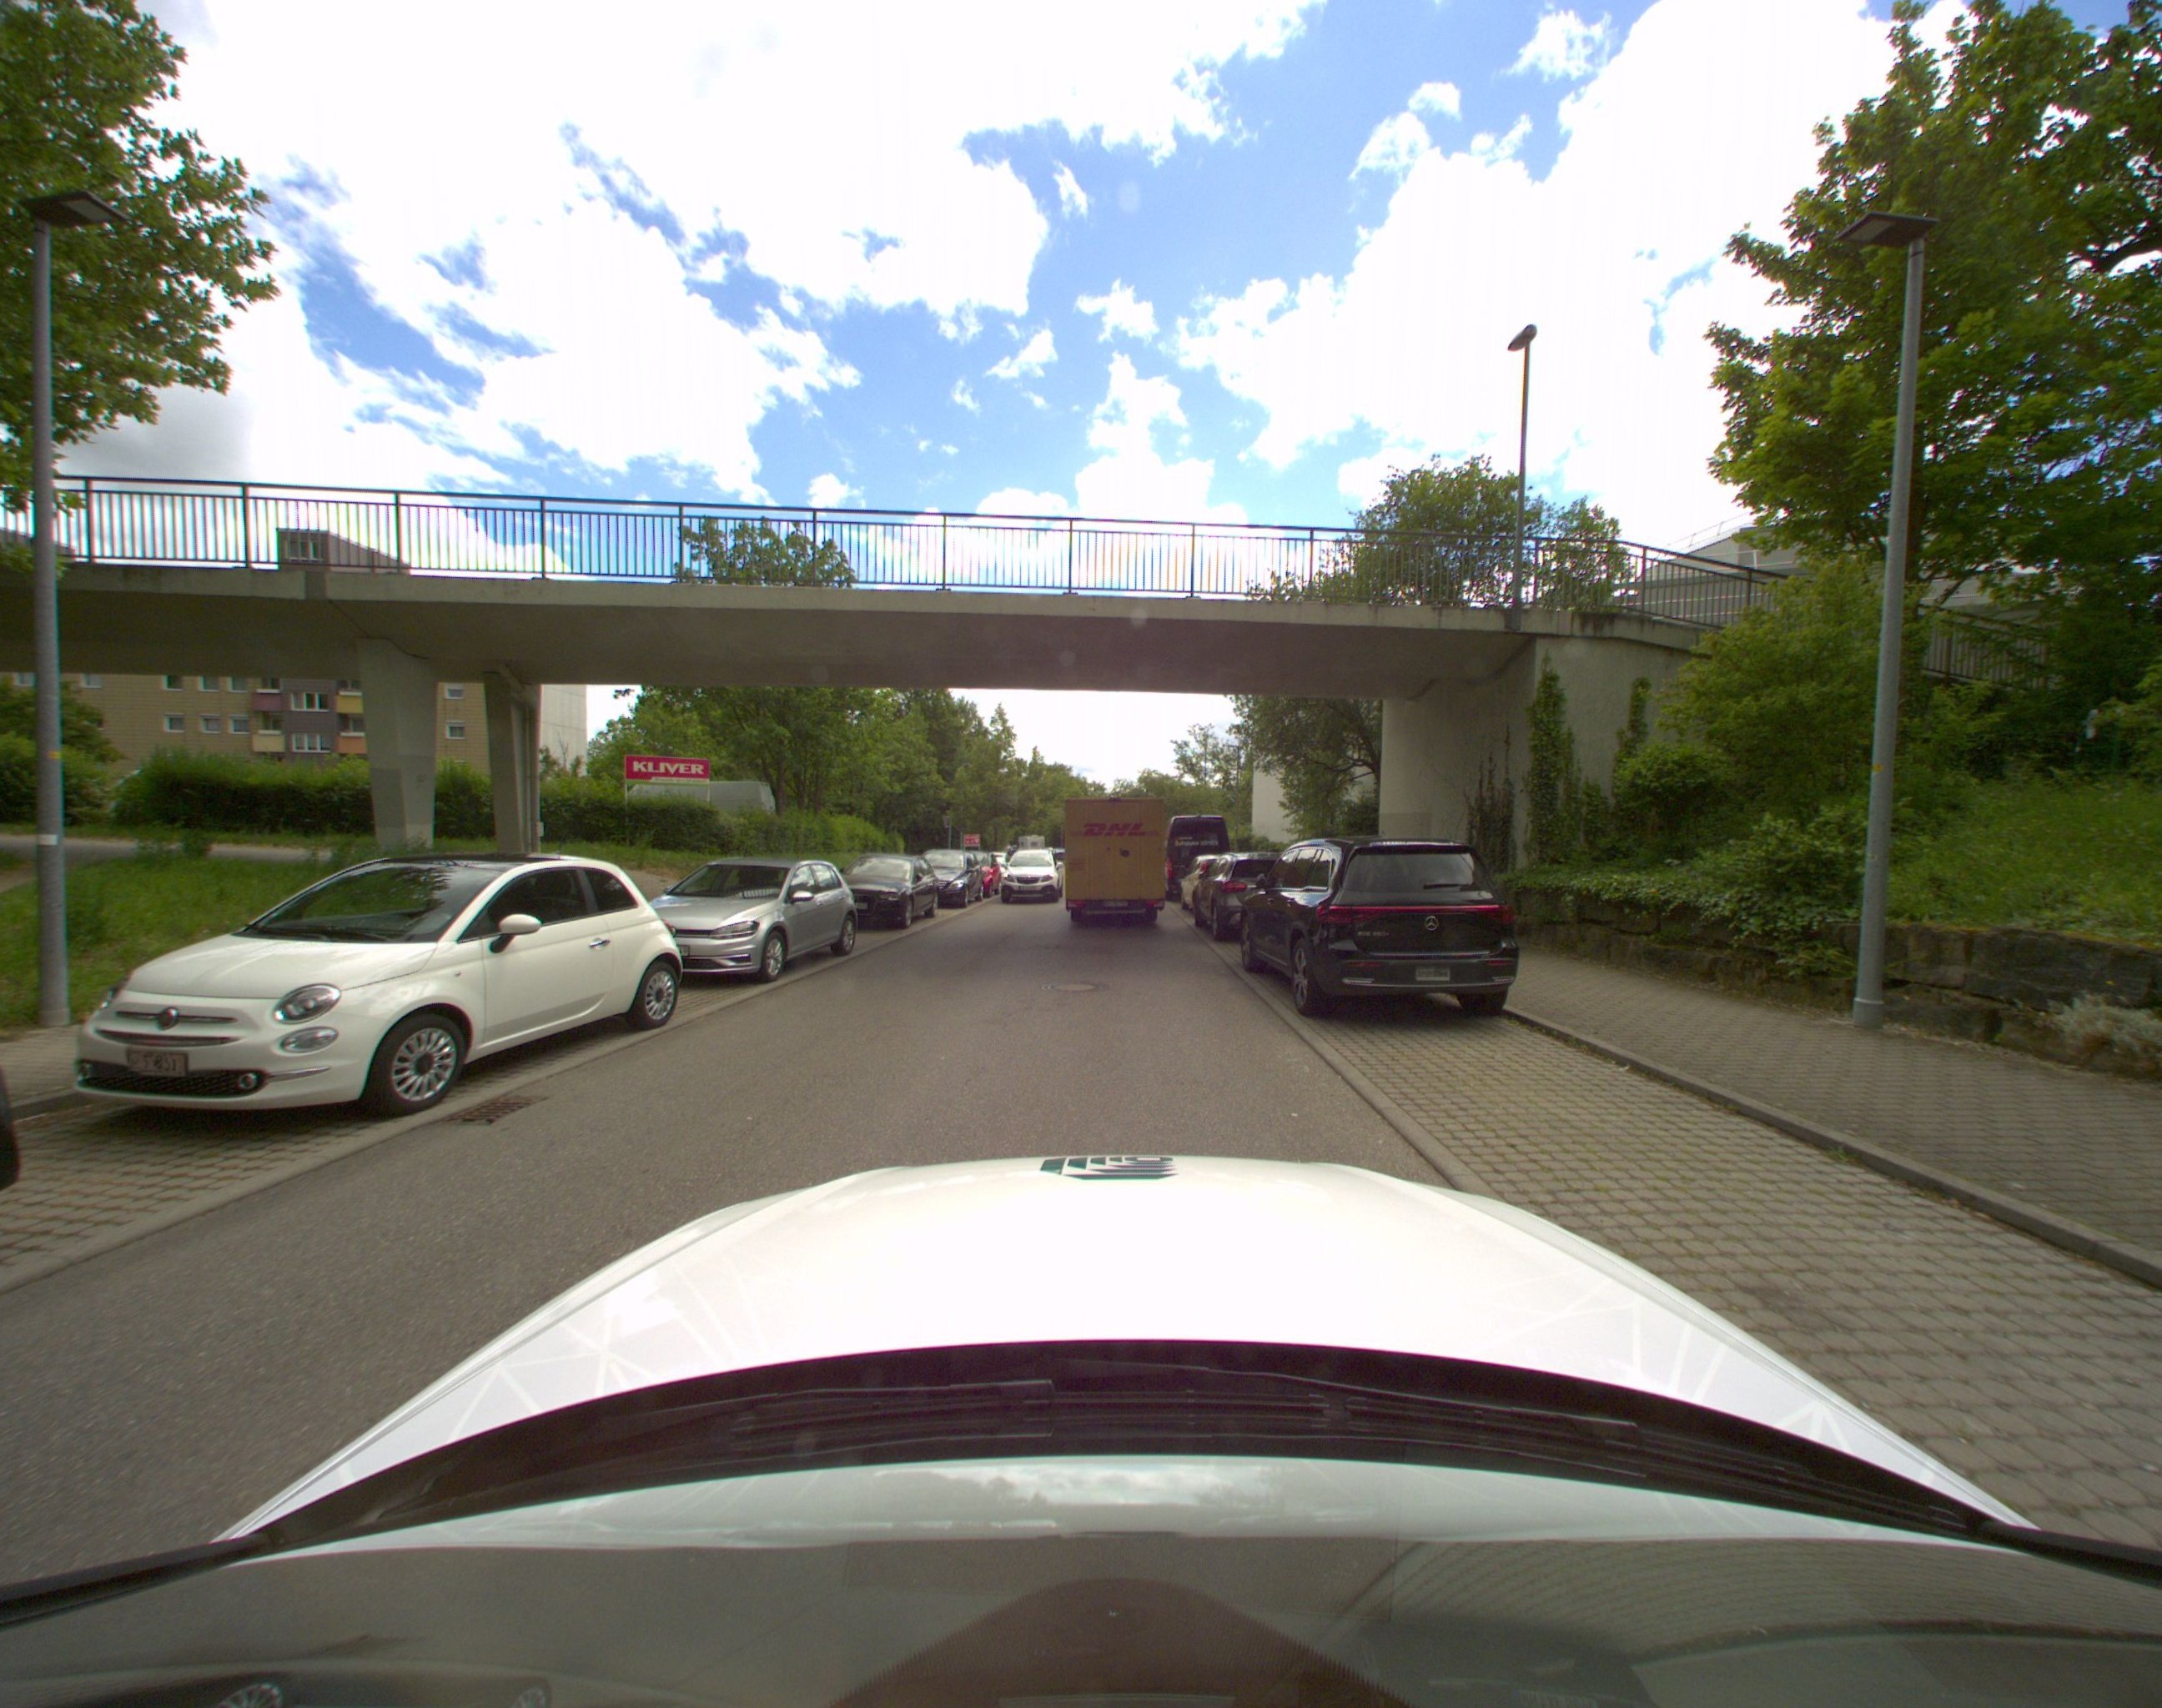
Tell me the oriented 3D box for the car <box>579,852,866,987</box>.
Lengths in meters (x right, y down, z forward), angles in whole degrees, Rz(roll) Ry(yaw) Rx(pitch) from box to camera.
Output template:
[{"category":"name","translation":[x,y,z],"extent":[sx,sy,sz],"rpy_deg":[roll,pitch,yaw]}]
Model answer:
[{"category":"car","translation":[-4.454,0.718,10.900],"extent":[1.877,1.427,4.003],"rpy_deg":[1,0,3]}]

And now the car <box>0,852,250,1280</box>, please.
[{"category":"car","translation":[-4.812,0.715,1.681],"extent":[1.777,1.468,4.007],"rpy_deg":[3,-1,6]}]

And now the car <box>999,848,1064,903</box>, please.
[{"category":"car","translation":[-1.528,0.633,26.476],"extent":[1.741,1.611,4.054],"rpy_deg":[-1,1,2]}]

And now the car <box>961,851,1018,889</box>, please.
[{"category":"car","translation":[-3.640,0.597,32.933],"extent":[1.668,1.436,3.972],"rpy_deg":[1,0,2]}]

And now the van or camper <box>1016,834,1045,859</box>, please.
[{"category":"van or camper","translation":[-6.373,-0.967,102.612],"extent":[2.330,2.871,5.230],"rpy_deg":[-3,4,-18]}]

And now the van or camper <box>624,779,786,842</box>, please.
[{"category":"van or camper","translation":[-13.387,-1.531,29.242],"extent":[4.843,2.085,1.998],"rpy_deg":[1,2,-3]}]

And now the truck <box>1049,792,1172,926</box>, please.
[{"category":"truck","translation":[0.669,0.065,20.148],"extent":[2.457,2.702,6.826],"rpy_deg":[-1,0,1]}]

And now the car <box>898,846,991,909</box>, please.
[{"category":"car","translation":[-3.900,0.617,23.942],"extent":[1.878,1.559,3.839],"rpy_deg":[5,0,1]}]

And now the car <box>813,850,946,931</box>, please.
[{"category":"car","translation":[-4.236,0.696,17.844],"extent":[1.879,1.509,4.450],"rpy_deg":[1,0,-1]}]

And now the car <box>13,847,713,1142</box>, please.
[{"category":"car","translation":[-4.580,0.730,6.043],"extent":[1.877,1.460,3.549],"rpy_deg":[2,0,3]}]

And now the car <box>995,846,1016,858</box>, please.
[{"category":"car","translation":[-10.672,-0.319,114.942],"extent":[1.852,1.529,3.970],"rpy_deg":[0,2,-23]}]

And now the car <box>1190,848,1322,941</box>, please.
[{"category":"car","translation":[3.110,0.649,15.253],"extent":[1.693,1.496,4.120],"rpy_deg":[0,0,2]}]

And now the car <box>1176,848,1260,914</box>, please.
[{"category":"car","translation":[3.379,0.615,20.589],"extent":[1.557,1.496,3.331],"rpy_deg":[-1,1,0]}]

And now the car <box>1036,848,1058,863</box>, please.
[{"category":"car","translation":[-4.039,0.164,95.948],"extent":[1.847,1.529,3.980],"rpy_deg":[1,2,-15]}]

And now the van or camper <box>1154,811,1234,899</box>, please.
[{"category":"van or camper","translation":[3.550,0.027,26.609],"extent":[1.986,2.523,5.473],"rpy_deg":[-2,0,2]}]

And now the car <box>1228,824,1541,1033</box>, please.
[{"category":"car","translation":[2.882,0.578,8.852],"extent":[1.807,1.678,4.371],"rpy_deg":[-1,1,0]}]

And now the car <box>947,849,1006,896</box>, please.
[{"category":"car","translation":[-3.597,0.612,28.332],"extent":[1.522,1.506,2.715],"rpy_deg":[1,0,3]}]
